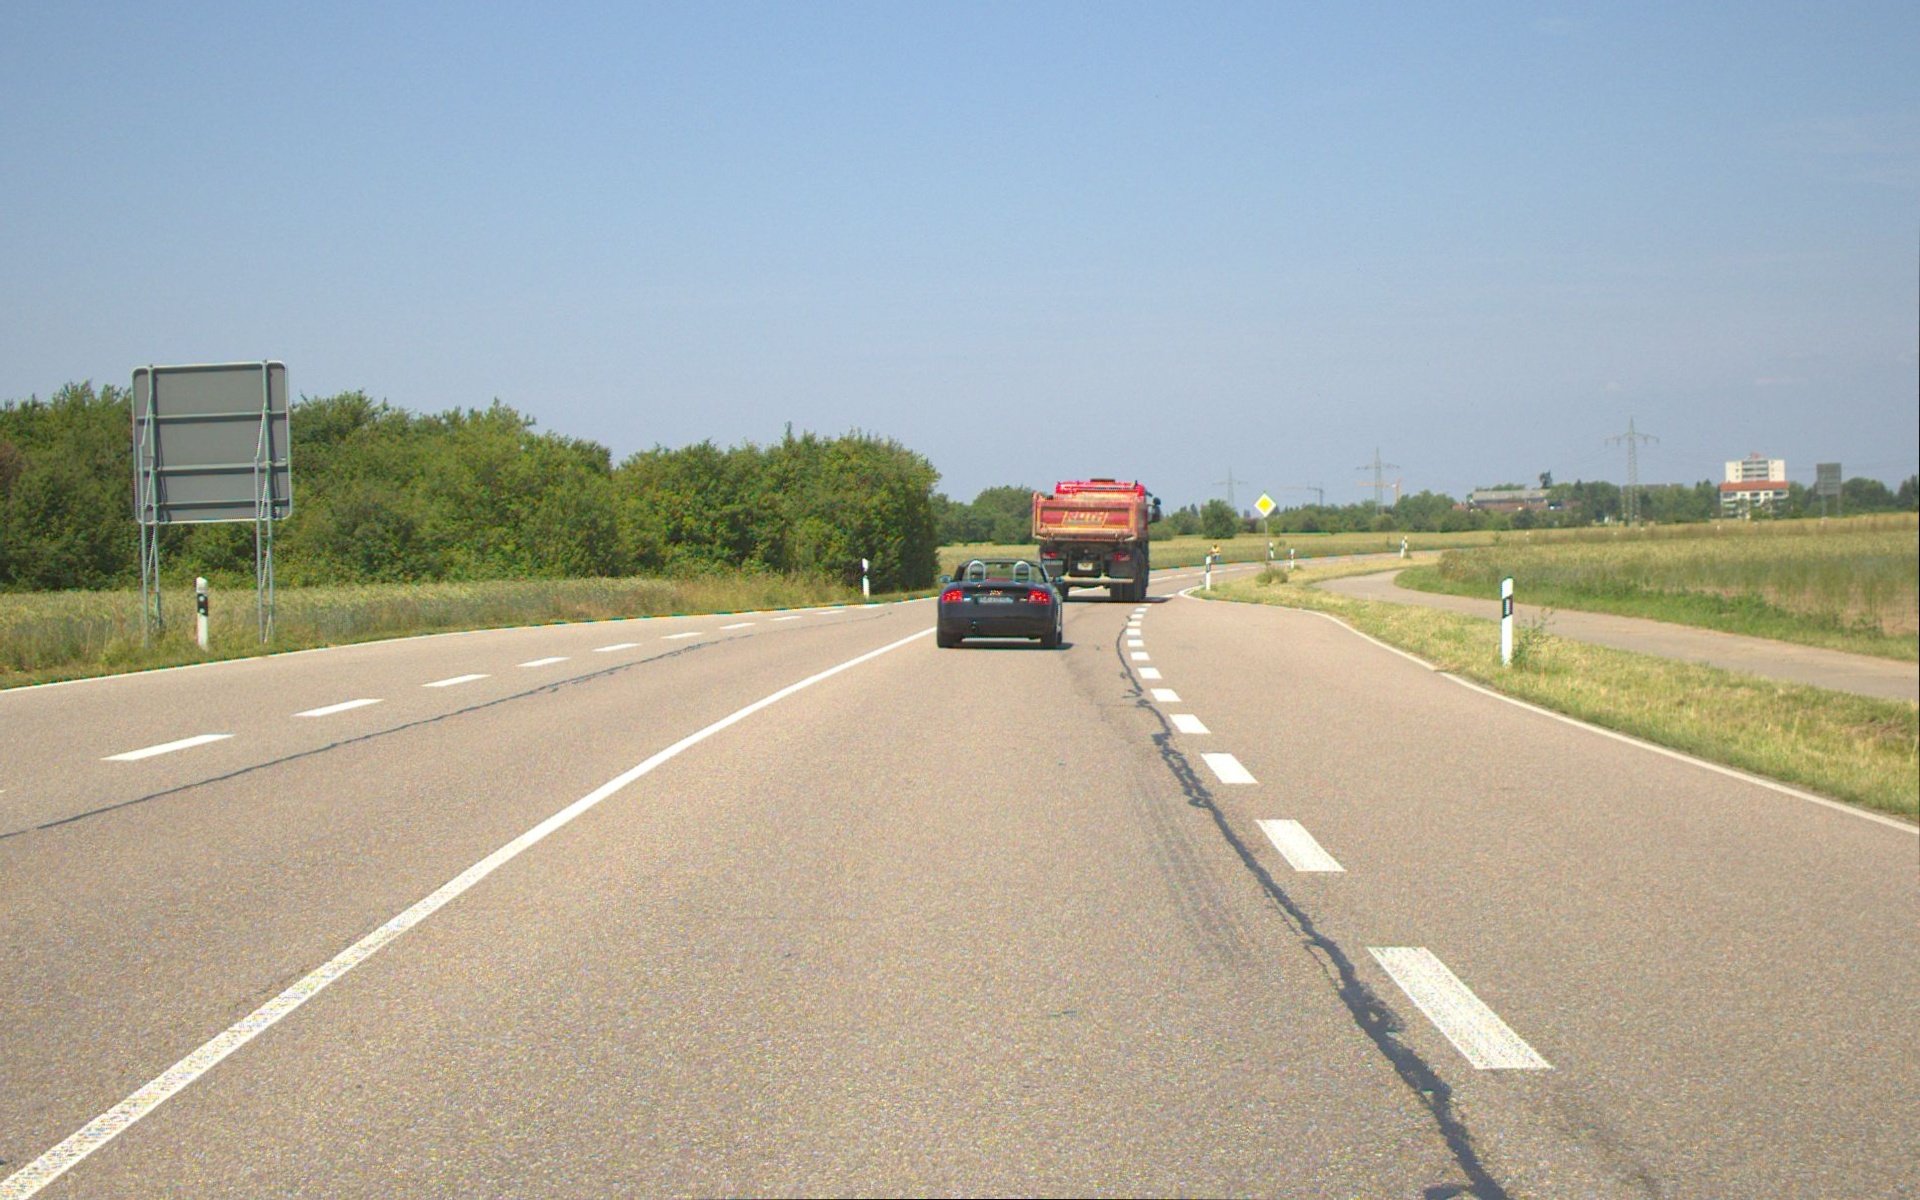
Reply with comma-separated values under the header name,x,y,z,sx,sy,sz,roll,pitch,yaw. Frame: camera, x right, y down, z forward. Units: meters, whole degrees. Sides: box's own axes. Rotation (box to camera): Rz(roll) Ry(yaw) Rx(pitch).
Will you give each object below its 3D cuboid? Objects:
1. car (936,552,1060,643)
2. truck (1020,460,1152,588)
name,x,y,z,sx,sy,sz,roll,pitch,yaw
car,0.578,-0.063,50.531,1.744,1.275,4.000,0,1,1
truck,3.250,-1.889,86.691,2.938,3.078,7.195,0,1,5
